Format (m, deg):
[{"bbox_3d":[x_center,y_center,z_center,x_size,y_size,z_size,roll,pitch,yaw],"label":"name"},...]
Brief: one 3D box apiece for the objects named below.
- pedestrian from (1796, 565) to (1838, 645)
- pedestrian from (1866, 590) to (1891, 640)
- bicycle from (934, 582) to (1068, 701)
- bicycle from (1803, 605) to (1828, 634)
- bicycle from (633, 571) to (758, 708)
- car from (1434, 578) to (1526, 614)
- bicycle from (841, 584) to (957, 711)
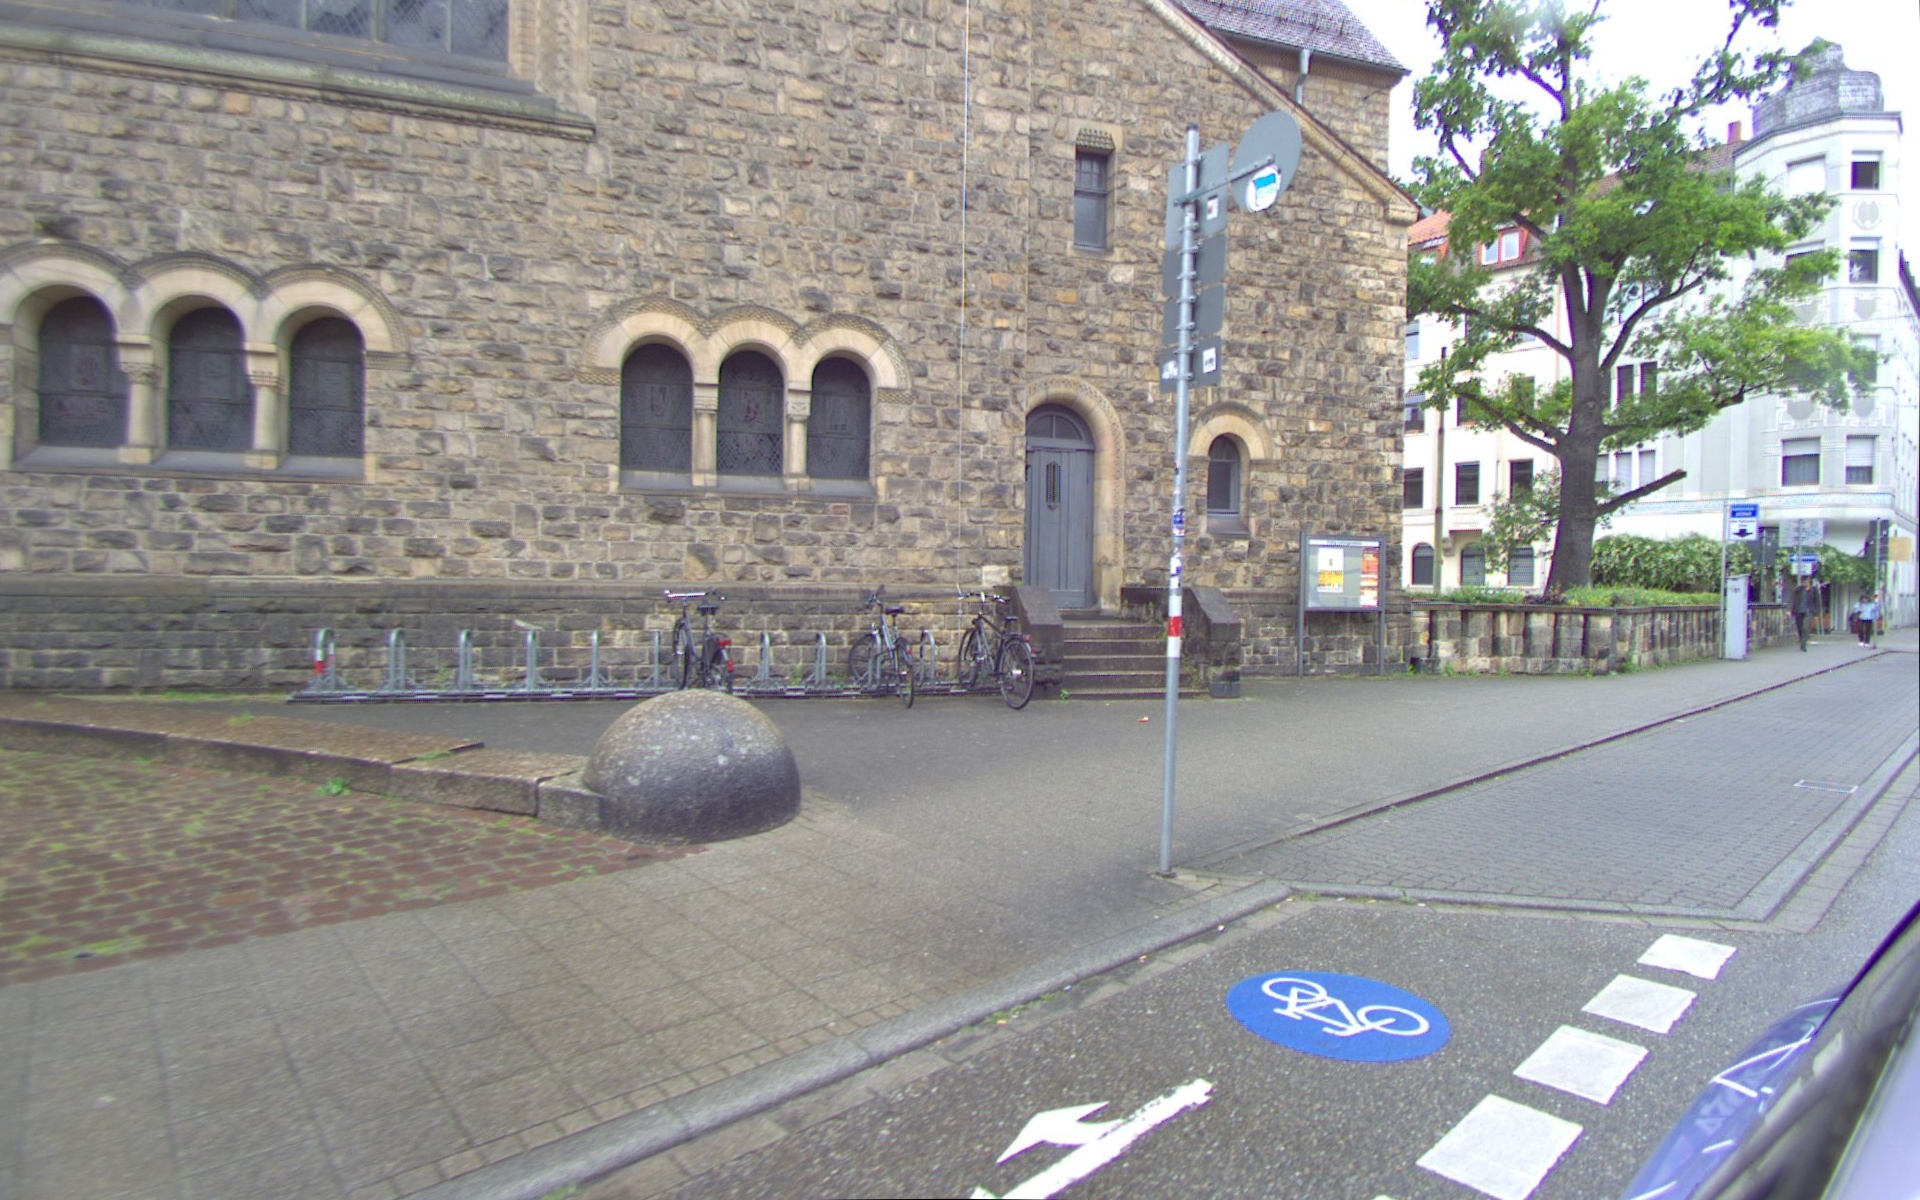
[{"bbox_3d":[20.871,0.112,24.643,0.681,1.896,0.645,0,2,-42],"label":"pedestrian"},{"bbox_3d":[27.907,0.443,30.746,0.385,1.479,0.482,0,2,-41],"label":"pedestrian"},{"bbox_3d":[0.387,0.382,10.778,0.502,1.067,1.995,0,3,-26],"label":"bicycle"},{"bbox_3d":[30.030,0.675,35.530,1.990,0.904,0.390,-3,4,-42],"label":"bicycle"},{"bbox_3d":[-2.586,0.314,9.738,0.677,1.118,1.994,0,3,-29],"label":"bicycle"},{"bbox_3d":[22.780,-0.197,44.433,1.421,1.426,3.271,0,2,-38],"label":"car"},{"bbox_3d":[-0.672,0.435,10.464,0.550,1.125,1.718,0,3,-26],"label":"bicycle"}]
